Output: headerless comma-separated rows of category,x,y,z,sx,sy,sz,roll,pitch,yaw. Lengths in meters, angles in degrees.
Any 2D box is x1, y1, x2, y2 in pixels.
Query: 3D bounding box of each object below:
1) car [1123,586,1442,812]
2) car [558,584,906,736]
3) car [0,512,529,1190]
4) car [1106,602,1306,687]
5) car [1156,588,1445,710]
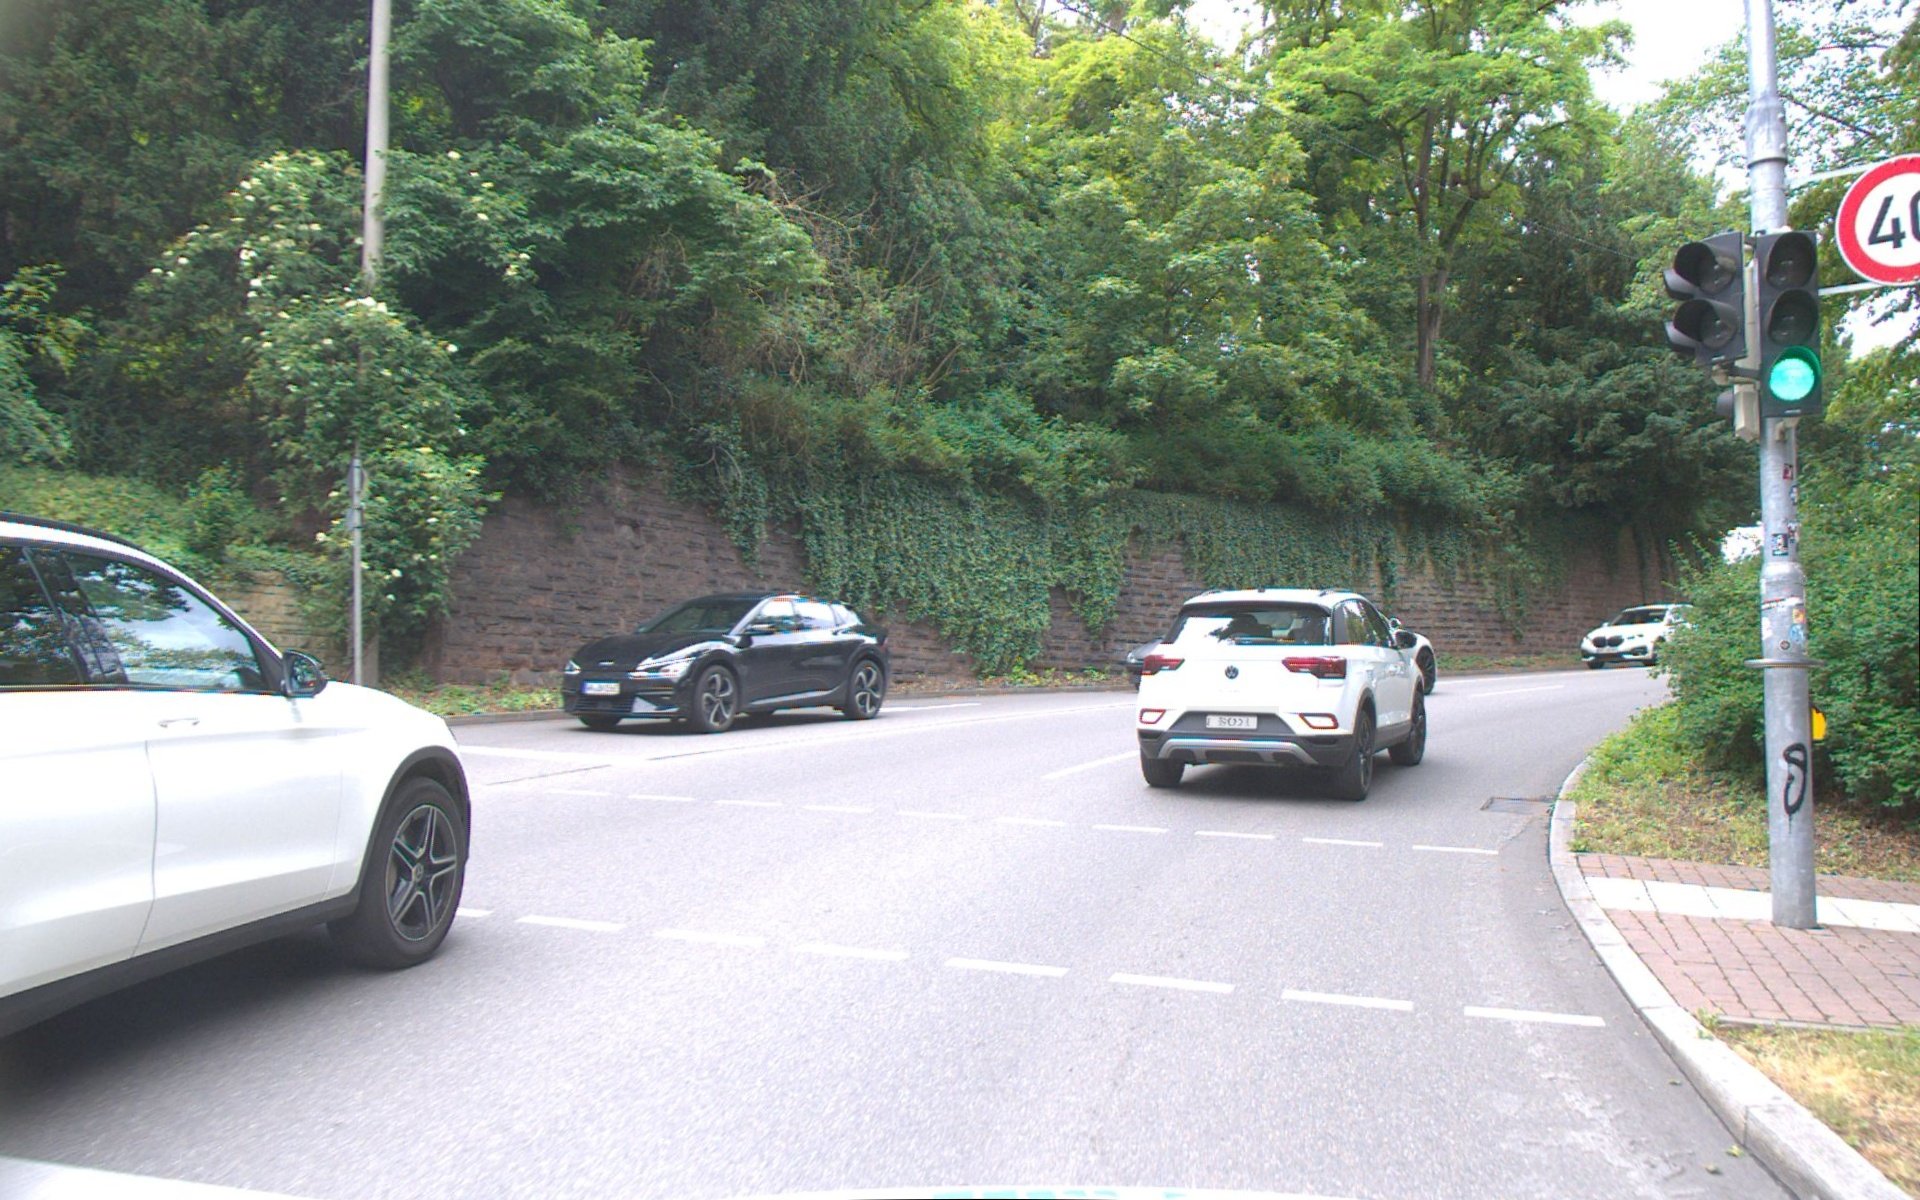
car,2.893,0.702,14.036,1.719,1.580,4.335,1,0,24
car,-2.524,0.640,19.377,1.601,1.570,4.385,-1,-1,33
car,-3.086,0.564,4.990,1.819,1.633,4.674,2,0,7
car,4.490,0.797,29.964,3.721,1.443,1.588,1,-2,-41
car,4.931,0.635,23.480,1.839,1.561,4.745,0,0,43
